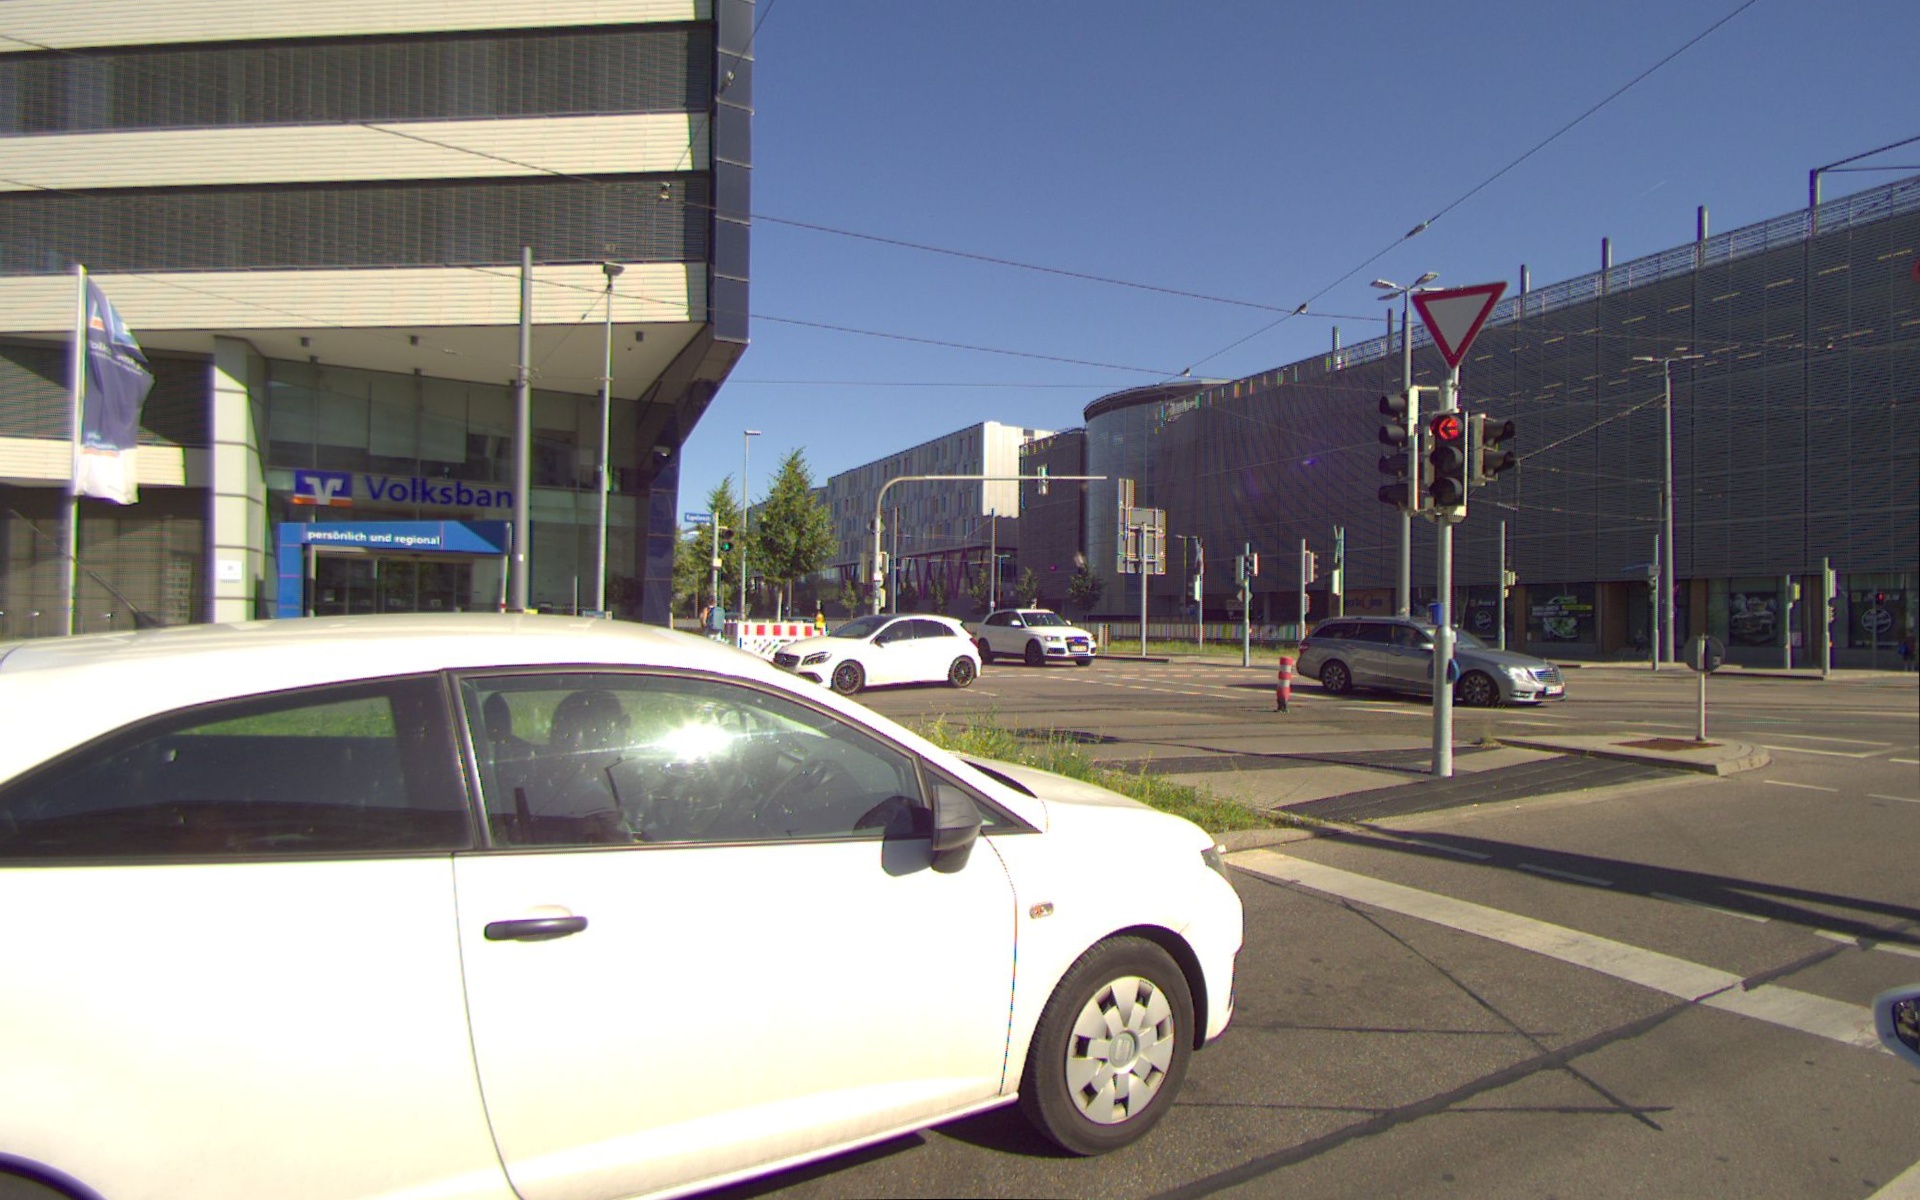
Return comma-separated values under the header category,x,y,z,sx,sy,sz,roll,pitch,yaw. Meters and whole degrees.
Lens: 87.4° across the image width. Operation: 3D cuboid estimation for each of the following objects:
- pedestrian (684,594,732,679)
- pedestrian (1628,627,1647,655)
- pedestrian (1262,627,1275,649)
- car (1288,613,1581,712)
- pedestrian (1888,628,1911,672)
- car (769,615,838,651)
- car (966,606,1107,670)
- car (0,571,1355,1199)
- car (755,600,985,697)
category,x,y,z,sx,sy,sz,roll,pitch,yaw
pedestrian,-5.264,0.750,20.965,0.732,1.719,0.801,1,1,-33
pedestrian,39.469,2.398,58.530,0.584,1.622,0.661,2,0,-11
pedestrian,23.567,2.916,76.664,0.642,1.622,0.658,2,0,-24
car,8.609,1.052,18.713,1.688,1.593,4.829,1,-1,-32
pedestrian,39.969,2.118,42.731,0.687,1.821,0.726,-2,-3,44
car,-7.366,1.522,47.079,1.690,1.534,4.241,1,0,-32
car,2.138,1.076,29.467,1.913,1.729,4.649,1,-2,-28
car,-0.955,0.735,2.791,3.977,1.460,1.723,2,1,-31
car,-1.659,0.882,19.380,4.148,1.668,1.804,1,-1,-41
